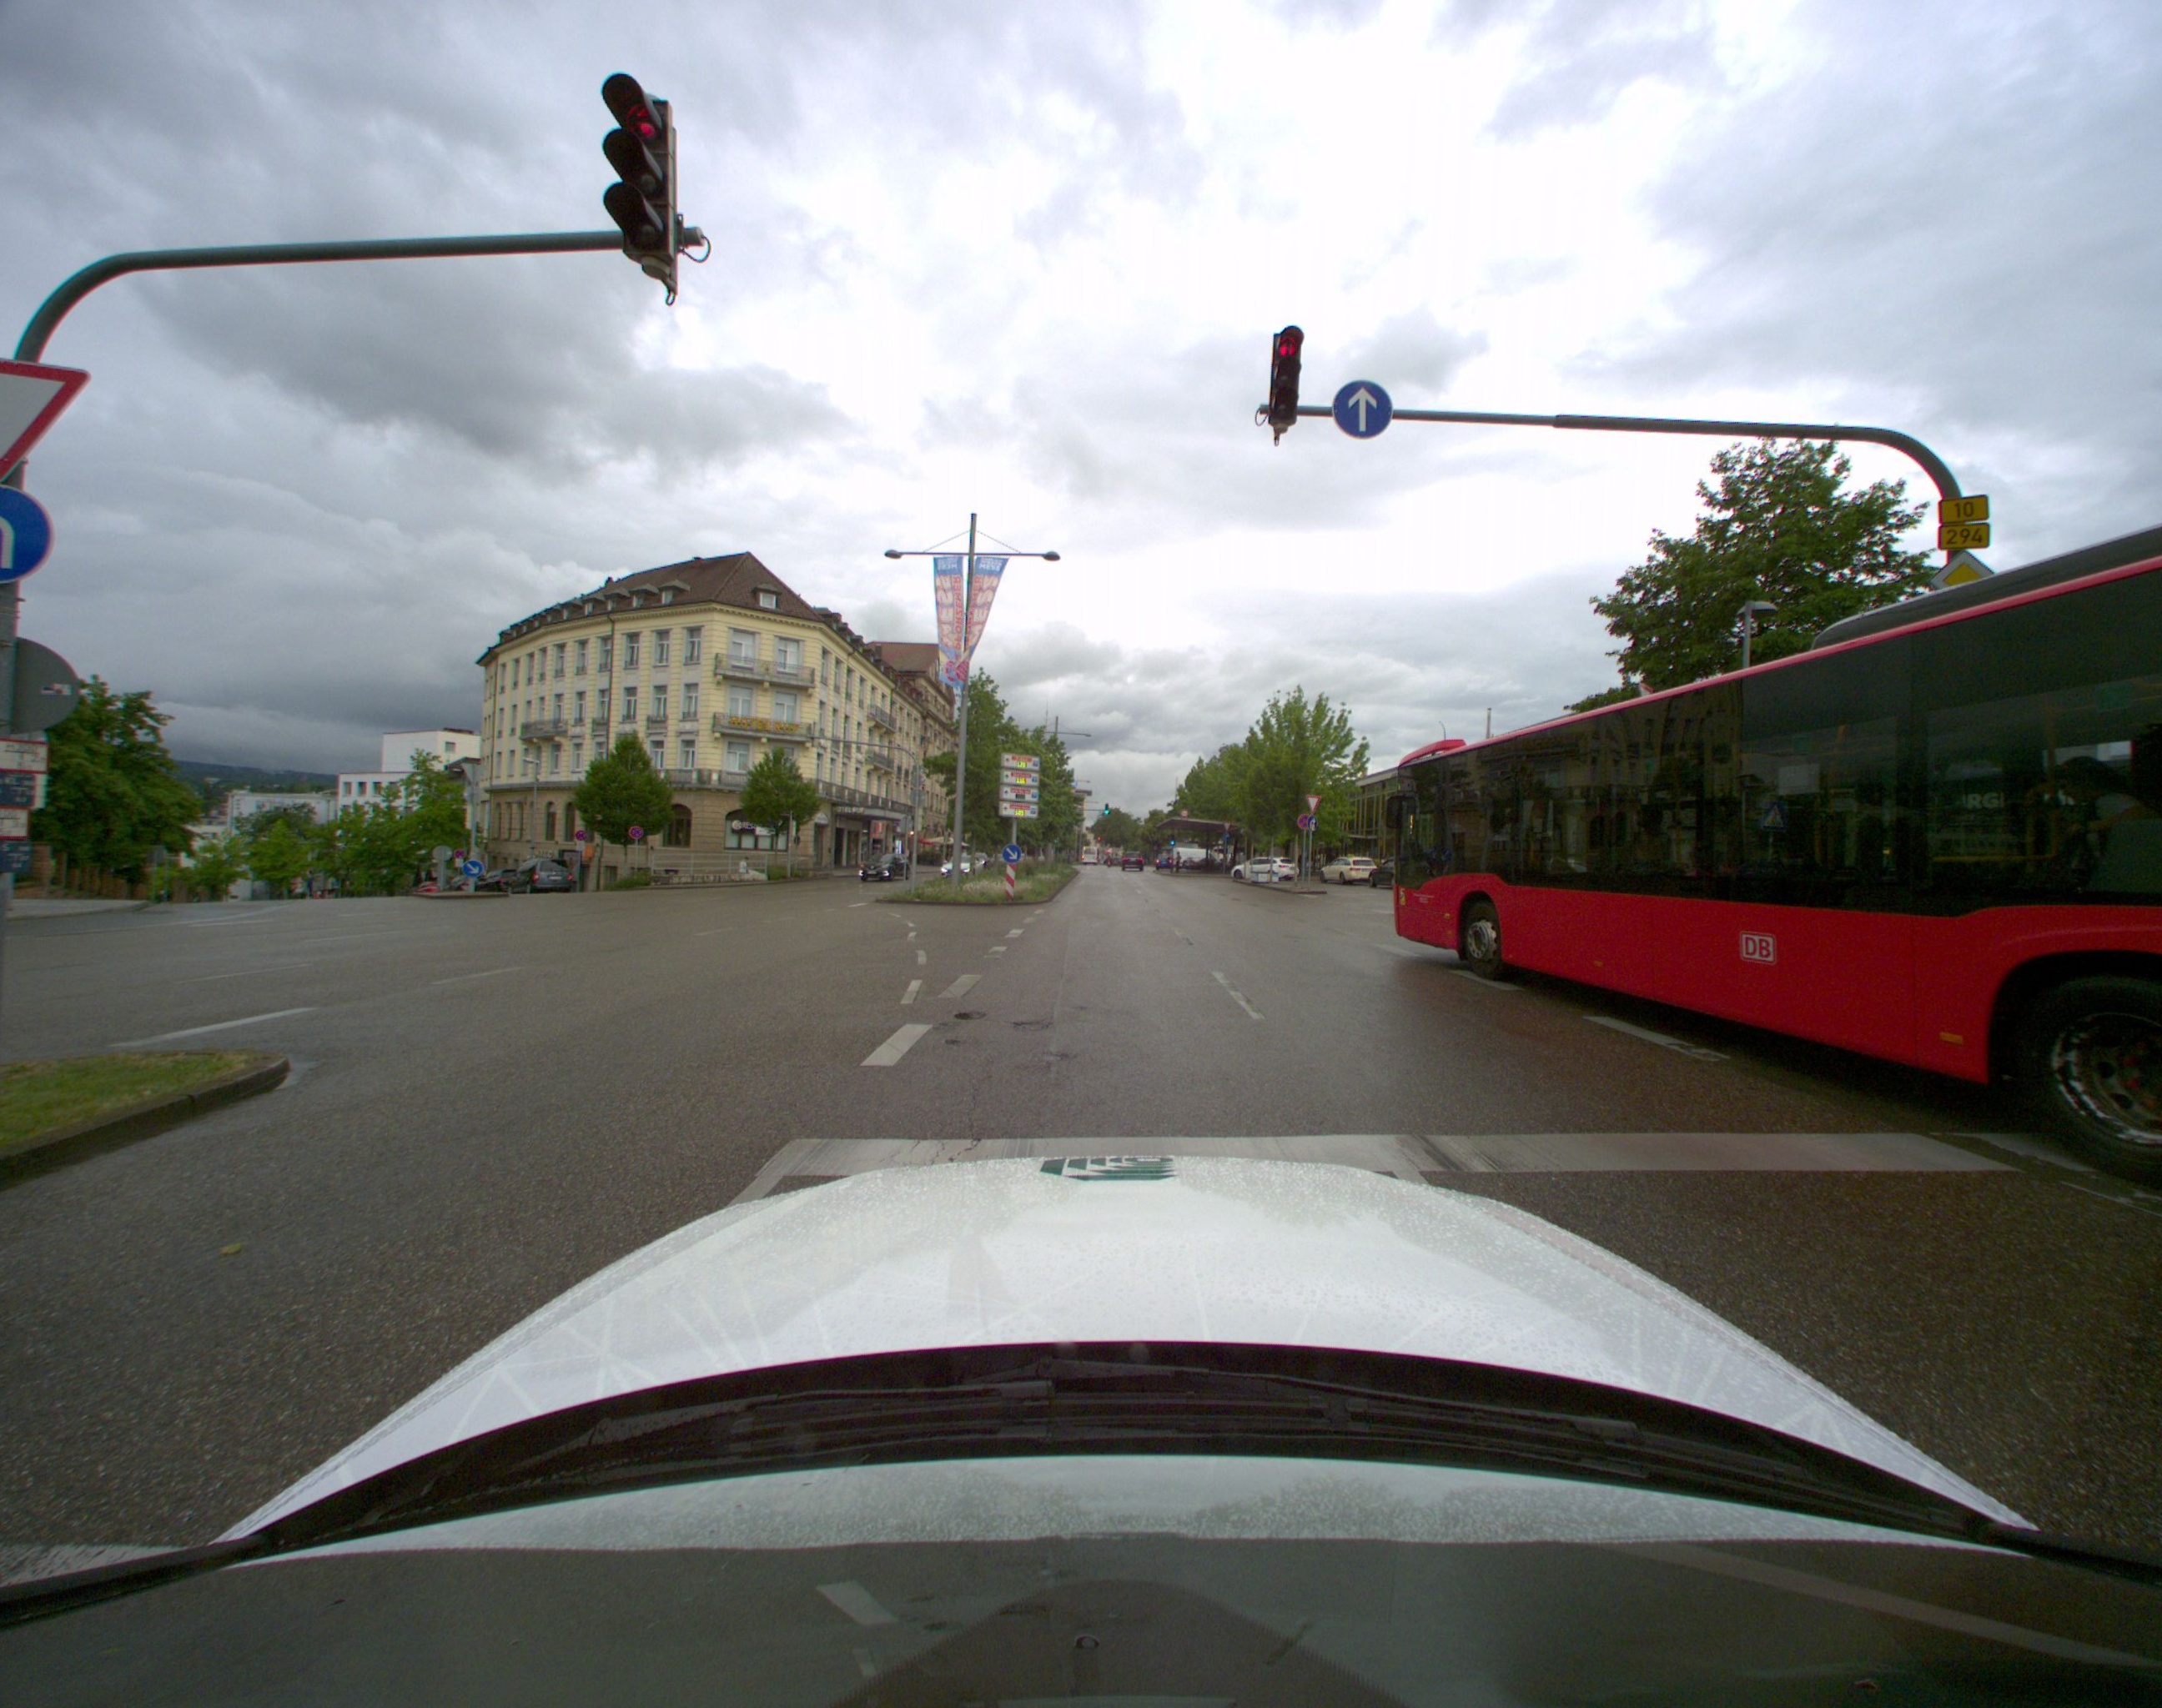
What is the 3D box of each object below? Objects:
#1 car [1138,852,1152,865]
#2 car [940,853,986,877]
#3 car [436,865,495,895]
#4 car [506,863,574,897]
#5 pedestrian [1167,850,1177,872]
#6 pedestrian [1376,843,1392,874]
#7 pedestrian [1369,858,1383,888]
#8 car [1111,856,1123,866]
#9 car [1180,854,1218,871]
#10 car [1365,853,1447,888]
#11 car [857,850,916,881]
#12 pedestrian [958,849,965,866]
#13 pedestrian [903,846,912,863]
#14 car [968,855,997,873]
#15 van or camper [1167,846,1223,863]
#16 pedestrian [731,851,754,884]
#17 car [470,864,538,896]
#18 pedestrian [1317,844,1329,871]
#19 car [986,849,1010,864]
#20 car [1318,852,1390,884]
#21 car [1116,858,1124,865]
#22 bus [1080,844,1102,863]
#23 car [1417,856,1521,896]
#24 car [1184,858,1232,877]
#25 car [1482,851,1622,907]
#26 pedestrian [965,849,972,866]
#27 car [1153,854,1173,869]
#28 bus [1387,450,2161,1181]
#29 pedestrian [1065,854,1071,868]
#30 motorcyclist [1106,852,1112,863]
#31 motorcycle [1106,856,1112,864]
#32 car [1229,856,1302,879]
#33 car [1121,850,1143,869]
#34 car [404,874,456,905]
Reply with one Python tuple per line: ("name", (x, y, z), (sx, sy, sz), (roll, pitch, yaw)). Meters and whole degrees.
("car", (9.210, 0.669, 116.939), (1.781, 1.860, 4.002), (0, 0, 2))
("car", (-6.940, 0.619, 48.390), (1.716, 1.381, 4.865), (0, 0, 4))
("car", (-36.311, 1.493, 48.029), (3.864, 1.640, 1.805), (0, 0, 37))
("car", (-27.100, 1.273, 40.767), (3.949, 1.568, 1.812), (0, 0, 41))
("pedestrian", (7.432, 0.603, 66.553), (0.717, 1.791, 0.663), (0, 0, -10))
("pedestrian", (19.959, 0.308, 53.682), (0.767, 2.014, 0.828), (0, 0, 0))
("pedestrian", (17.113, 1.078, 47.244), (0.563, 1.710, 0.715), (1, 0, -3))
("car", (5.212, 1.009, 119.730), (1.702, 1.448, 4.001), (0, 0, 2))
("car", (14.025, 0.984, 96.497), (3.998, 2.014, 1.988), (0, 0, -18))
("car", (14.886, 0.716, 37.599), (1.907, 1.524, 4.741), (0, 0, 0))
("car", (-10.860, 0.595, 45.779), (1.761, 1.530, 4.089), (1, 2, 9))
("pedestrian", (-12.177, 0.325, 82.871), (0.573, 1.732, 0.609), (0, 0, 1))
("pedestrian", (-16.089, 0.032, 75.344), (0.666, 1.510, 0.513), (0, -1, -36))
("car", (-8.291, 0.839, 68.526), (1.623, 1.476, 4.031), (0, 0, 5))
("van or camper", (14.352, 0.091, 102.750), (6.787, 2.014, 2.366), (0, -1, -25))
("pedestrian", (-19.635, 0.791, 47.280), (0.860, 1.878, 1.023), (0, 0, 1))
("car", (-31.969, 1.417, 45.107), (3.948, 1.640, 2.013), (-1, -1, 37))
("pedestrian", (21.827, 0.340, 73.391), (0.839, 2.411, 0.863), (0, 0, 3))
("car", (-8.454, 0.262, 82.889), (1.747, 1.441, 4.064), (0, 0, 4))
("car", (14.683, 0.719, 44.094), (1.990, 1.600, 4.814), (0, 0, -5))
("car", (8.540, 1.566, 177.935), (1.702, 1.474, 4.001), (0, 0, 2))
("bus", (1.895, -0.064, 150.946), (3.747, 3.209, 15.527), (0, 0, 1))
("car", (14.788, 0.792, 31.373), (1.840, 1.452, 4.666), (0, 0, 0))
("car", (12.822, 1.393, 82.136), (4.348, 1.857, 1.988), (0, 0, -18))
("car", (14.648, 0.725, 25.654), (1.768, 1.589, 4.615), (0, 0, 0))
("pedestrian", (-11.441, 0.338, 82.860), (0.672, 1.701, 0.634), (0, 0, 1))
("car", (8.560, 0.763, 85.374), (1.809, 1.530, 4.001), (0, 0, 2))
("bus", (6.033, -0.161, 7.262), (2.734, 3.174, 10.191), (0, 0, -1))
("pedestrian", (-1.678, 0.901, 103.846), (0.754, 1.701, 0.561), (0, 0, 8))
("motorcyclist", (3.547, 0.481, 102.551), (0.761, 1.331, 0.867), (0, 0, 2))
("motorcycle", (3.543, 0.759, 102.553), (0.763, 1.077, 2.176), (0, 0, 2))
("car", (11.487, 0.791, 50.942), (1.788, 1.385, 4.318), (0, 0, -39))
("car", (4.859, 0.493, 77.750), (1.986, 1.806, 4.691), (0, 0, 2))
("car", (-41.187, 2.210, 51.489), (3.575, 1.812, 1.788), (0, 0, 38))
